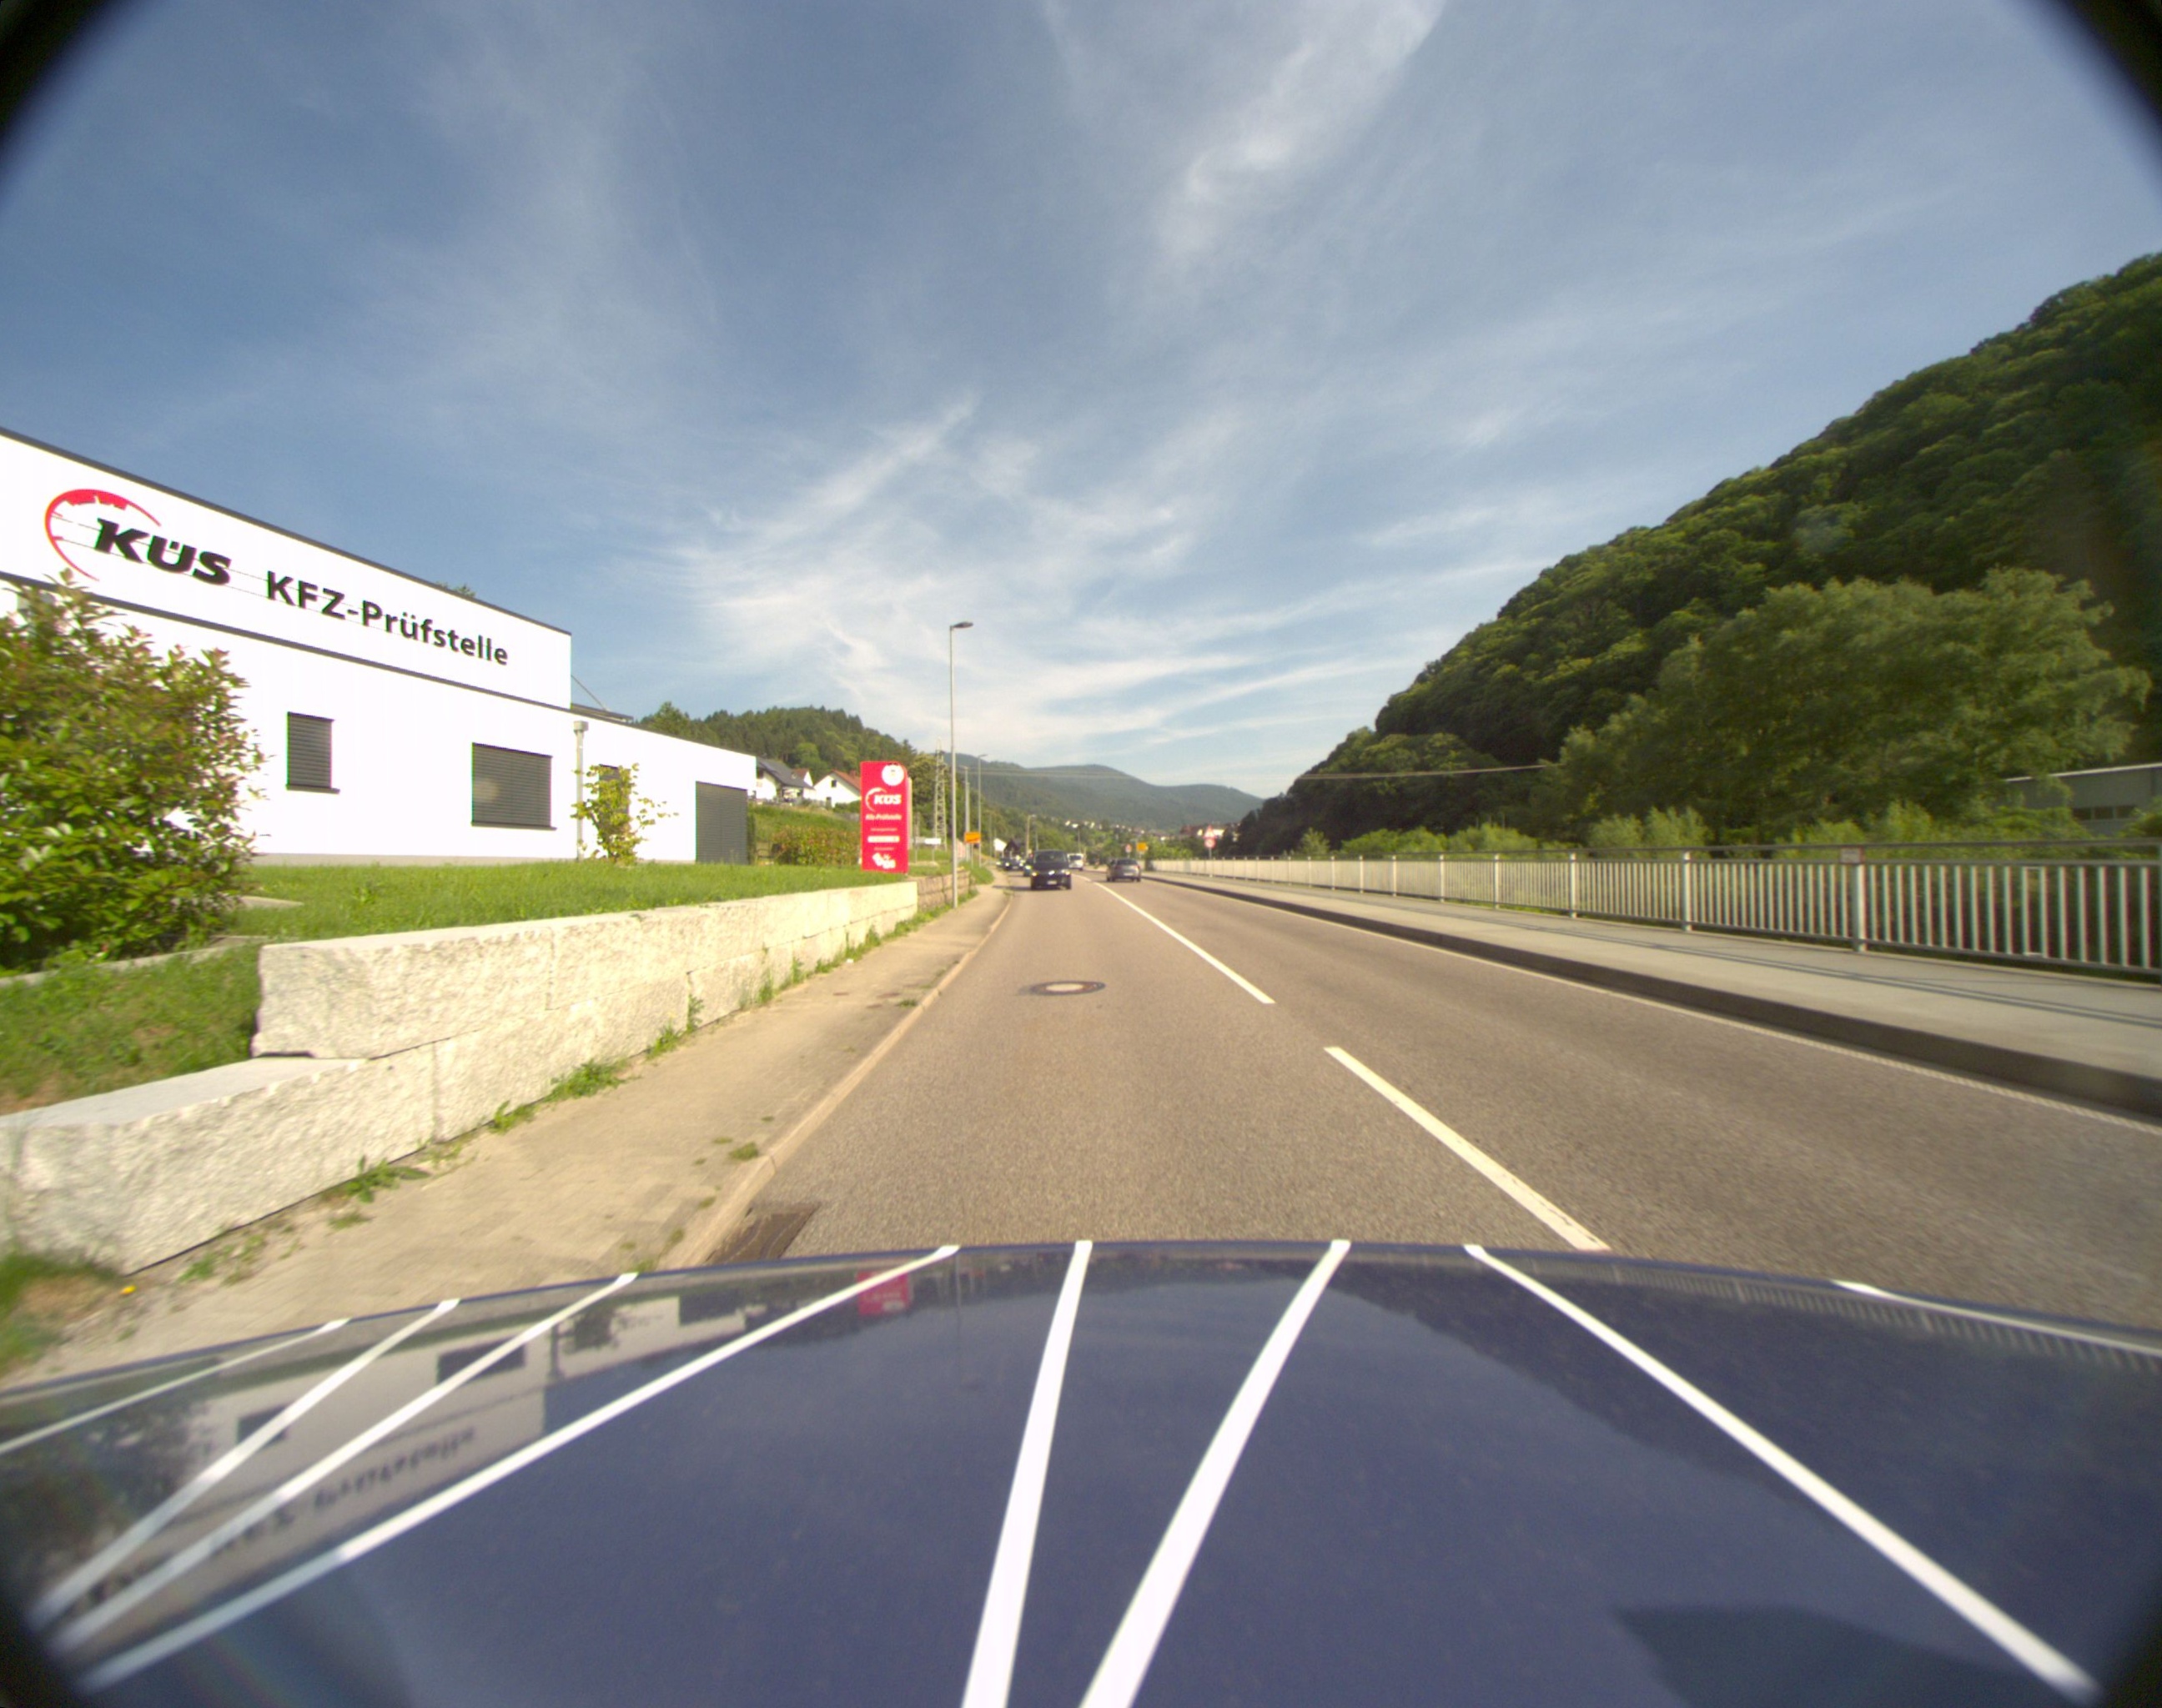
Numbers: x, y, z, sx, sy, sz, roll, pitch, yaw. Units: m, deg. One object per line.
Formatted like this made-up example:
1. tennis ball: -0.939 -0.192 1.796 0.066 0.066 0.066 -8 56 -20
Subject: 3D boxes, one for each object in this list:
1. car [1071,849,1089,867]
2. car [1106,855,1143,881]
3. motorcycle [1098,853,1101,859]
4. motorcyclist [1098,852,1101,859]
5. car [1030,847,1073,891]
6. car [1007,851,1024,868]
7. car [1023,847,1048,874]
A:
1. car: -0.178 0.435 85.950 1.925 1.956 5.145 0 1 -1
2. car: 2.600 0.807 46.188 1.818 1.475 4.797 -1 0 -2
3. motorcycle: 3.933 0.434 161.948 0.774 1.414 2.318 1 0 1
4. motorcyclist: 3.937 0.314 161.973 0.764 1.668 0.727 0 1 2
5. car: -1.525 0.693 37.425 1.866 1.936 4.636 -2 0 -4
6. car: -6.746 0.605 77.994 1.614 1.622 3.820 -1 -1 -7
7. car: -3.510 0.524 58.913 1.613 2.001 3.823 -1 -1 0
